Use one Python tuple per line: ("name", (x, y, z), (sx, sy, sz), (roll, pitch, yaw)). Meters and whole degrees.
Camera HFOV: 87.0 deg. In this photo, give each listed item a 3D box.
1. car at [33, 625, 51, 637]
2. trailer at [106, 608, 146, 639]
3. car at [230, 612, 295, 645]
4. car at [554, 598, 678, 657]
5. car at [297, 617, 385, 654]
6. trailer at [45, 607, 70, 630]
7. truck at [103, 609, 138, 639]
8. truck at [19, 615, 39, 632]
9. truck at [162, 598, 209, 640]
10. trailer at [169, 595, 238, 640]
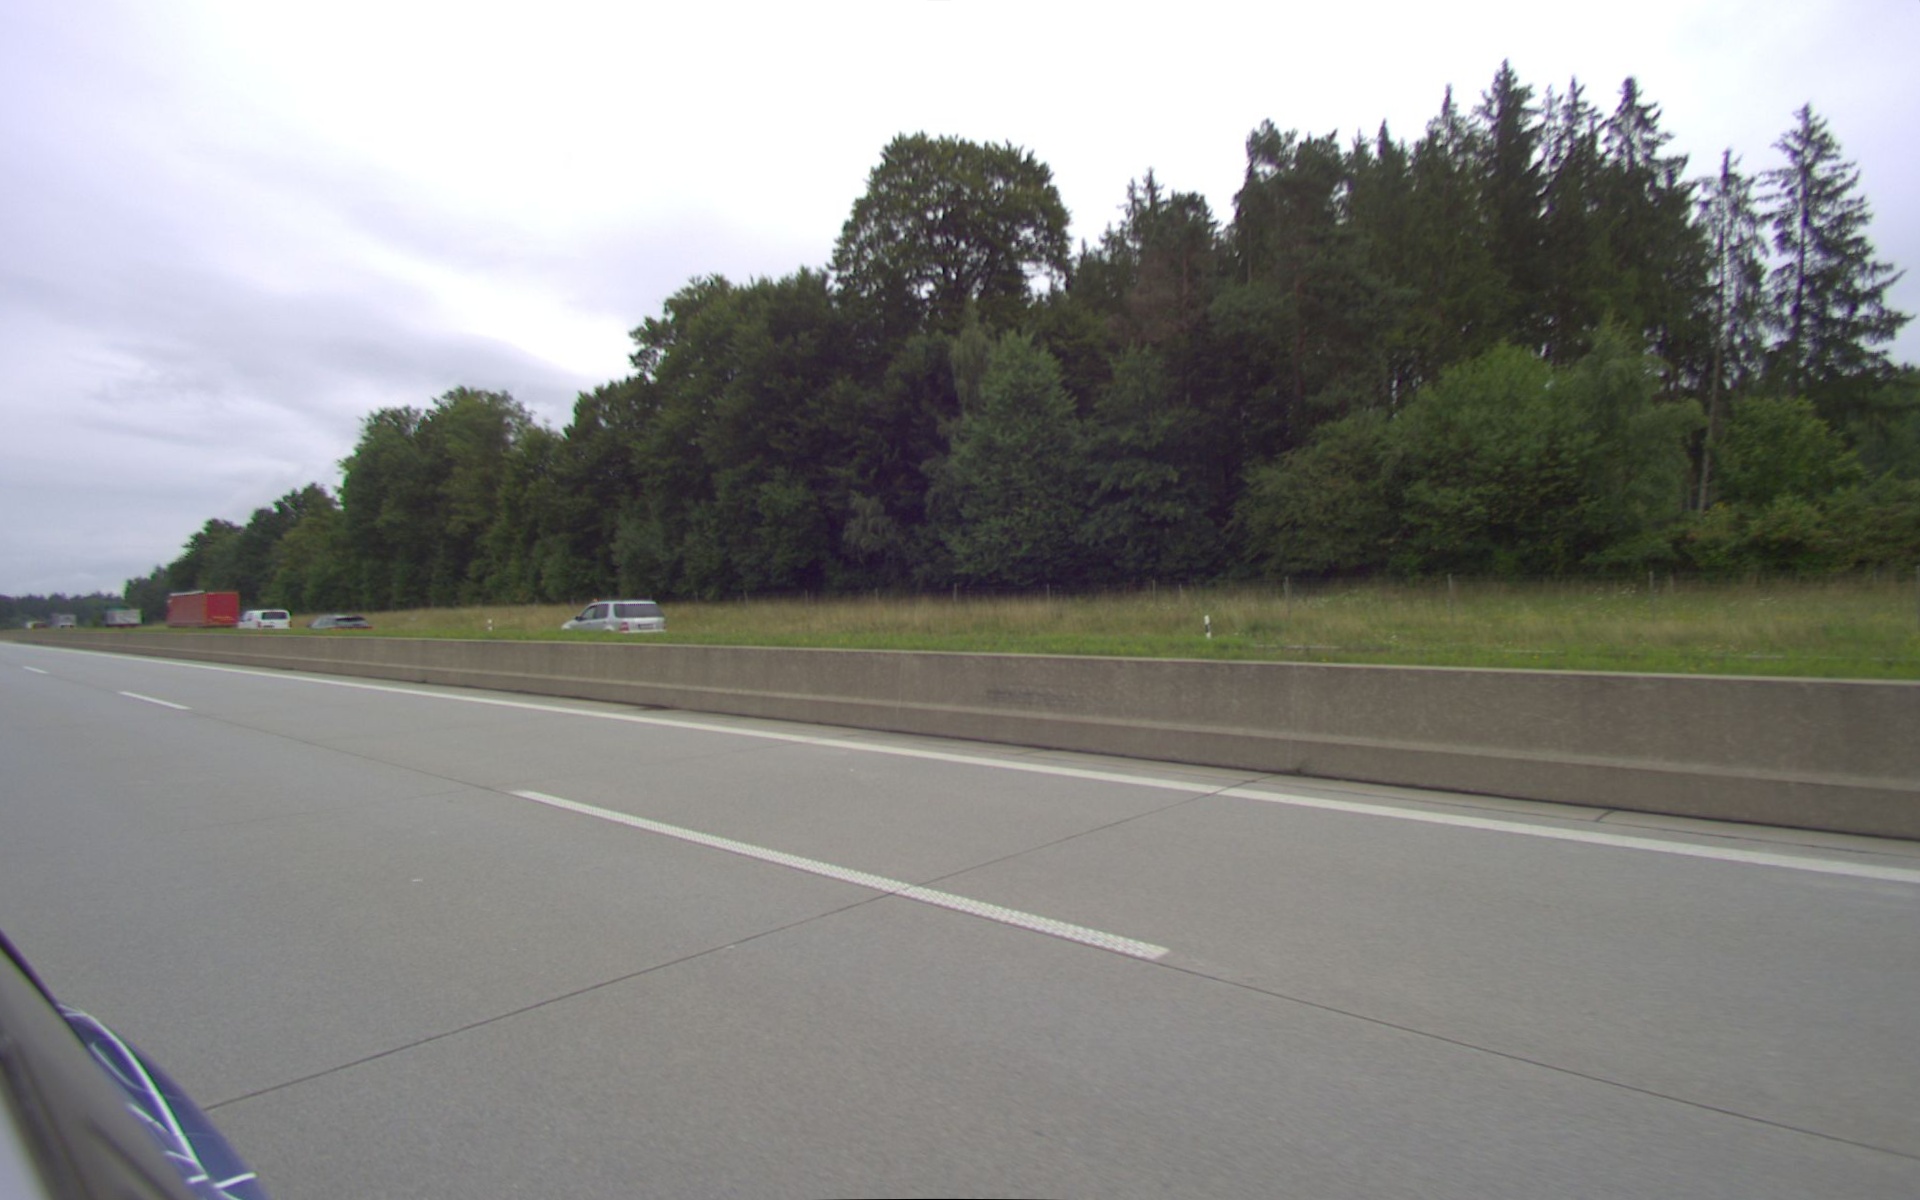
("car", (-153.579, 5.222, 169.317), (1.971, 1.896, 5.316), (-1, -1, -45))
("trailer", (-108.008, 3.071, 131.017), (9.012, 3.728, 2.773), (-2, -1, 43))
("car", (-44.044, 1.821, 63.854), (5.623, 1.971, 1.973), (-2, -1, 41))
("car", (-11.526, 0.905, 33.812), (4.389, 1.813, 1.973), (-1, 0, 41))
("car", (-26.263, 1.483, 42.880), (4.490, 1.477, 1.973), (-2, 0, 41))
("trailer", (-165.947, 3.386, 186.025), (13.979, 4.134, 2.470), (-1, 0, 44))
("truck", (-111.104, 3.187, 133.919), (5.660, 3.768, 2.750), (-2, -1, 43))
("truck", (-163.094, 4.073, 177.292), (6.514, 2.809, 2.242), (-1, 0, 45))
("truck", (-76.483, 1.931, 99.858), (6.946, 3.957, 2.525), (-2, -1, 43))
("trailer", (-70.900, 1.731, 94.672), (14.377, 3.974, 2.580), (-2, -1, 43))
